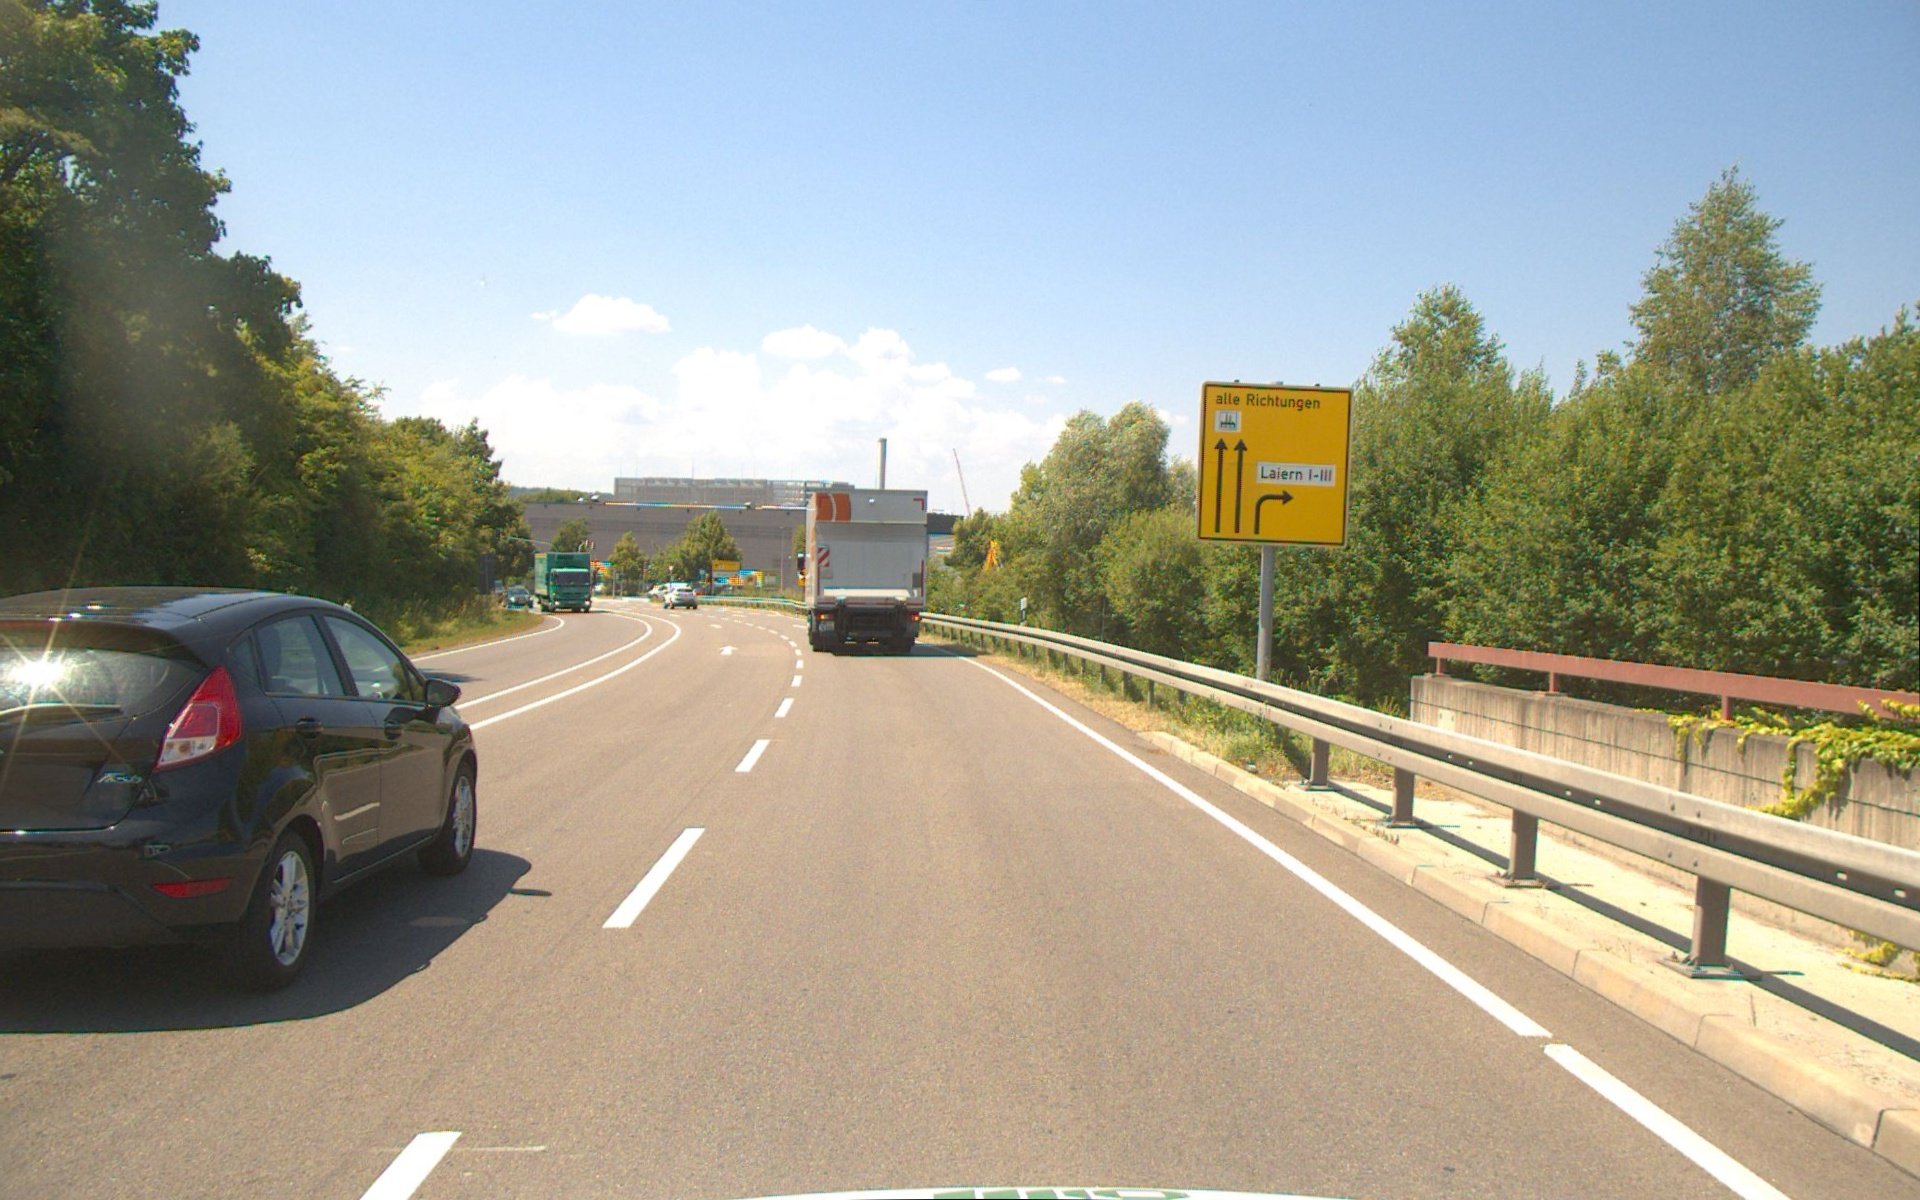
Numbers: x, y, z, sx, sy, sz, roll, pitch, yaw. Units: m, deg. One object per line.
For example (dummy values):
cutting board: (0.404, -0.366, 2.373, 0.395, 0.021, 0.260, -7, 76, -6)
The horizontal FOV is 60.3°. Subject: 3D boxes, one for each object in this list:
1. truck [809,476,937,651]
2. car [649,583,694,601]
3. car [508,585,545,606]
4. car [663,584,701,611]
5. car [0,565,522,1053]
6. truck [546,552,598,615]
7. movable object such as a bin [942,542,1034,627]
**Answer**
truck: (-2.296, -0.868, 40.812, 2.749, 3.775, 9.099, 1, 1, -5)
car: (-32.357, -0.910, 185.679, 4.648, 1.966, 2.153, 0, 0, -1)
car: (-30.663, -0.345, 117.084, 1.841, 1.467, 4.324, 0, 0, -6)
car: (-18.921, -0.174, 112.390, 1.913, 1.693, 3.981, 3, -1, -17)
car: (-3.250, 0.635, 7.409, 1.620, 1.519, 4.206, 1, 1, -3)
truck: (-23.394, -0.976, 99.540, 2.821, 3.636, 9.394, 0, 0, -15)
movable object such as a bin: (1.821, -1.190, 114.899, 3.372, 5.351, 9.183, 2, 2, -18)
